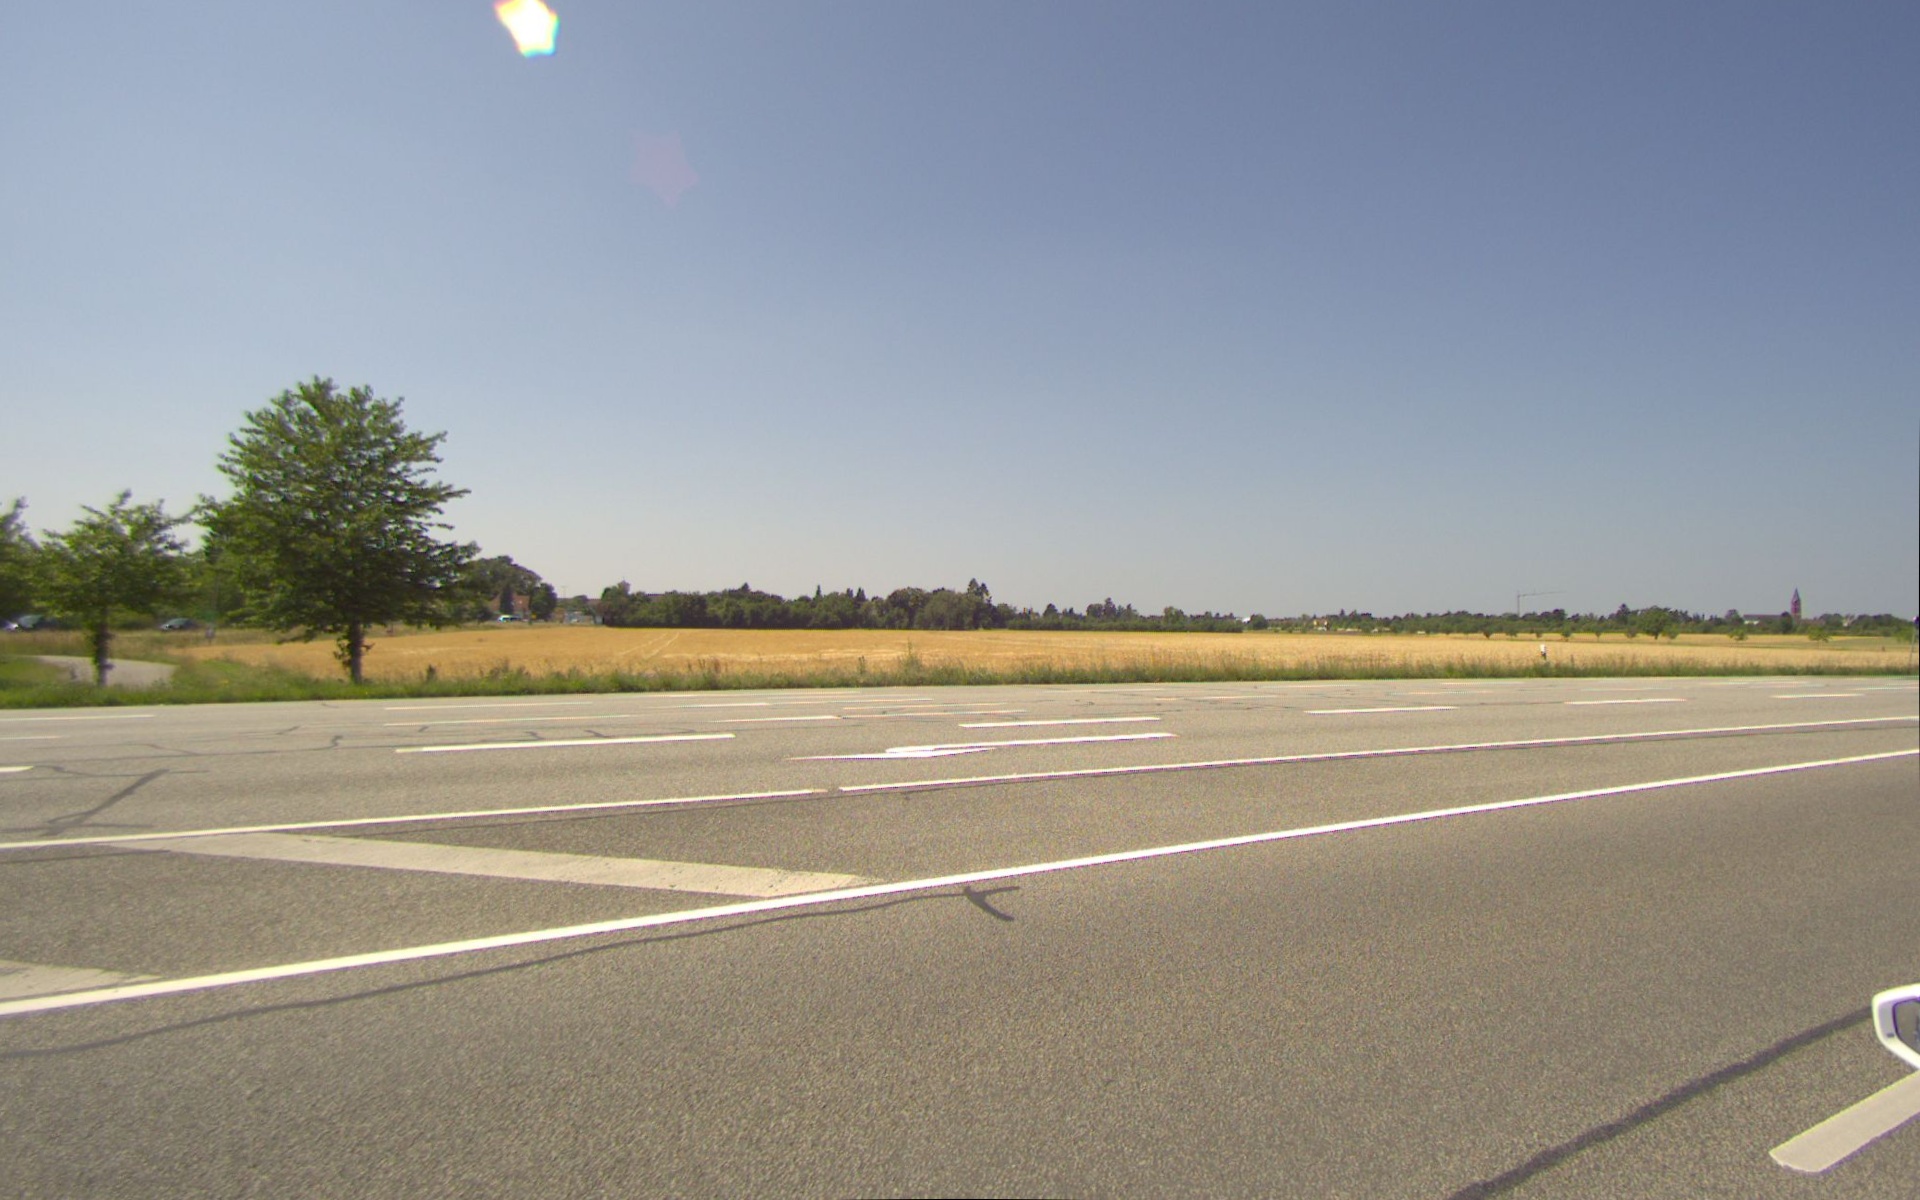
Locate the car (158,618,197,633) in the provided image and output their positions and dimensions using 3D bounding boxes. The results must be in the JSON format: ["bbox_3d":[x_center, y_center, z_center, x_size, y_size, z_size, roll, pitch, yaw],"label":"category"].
[{"bbox_3d":[-75.849,2.458,97.368,1.474,1.405,3.766,1,-2,-13],"label":"car"}]

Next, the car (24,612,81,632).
[{"bbox_3d":[-68.005,1.656,75.343,1.474,1.405,3.766,1,-2,-13],"label":"car"}]
